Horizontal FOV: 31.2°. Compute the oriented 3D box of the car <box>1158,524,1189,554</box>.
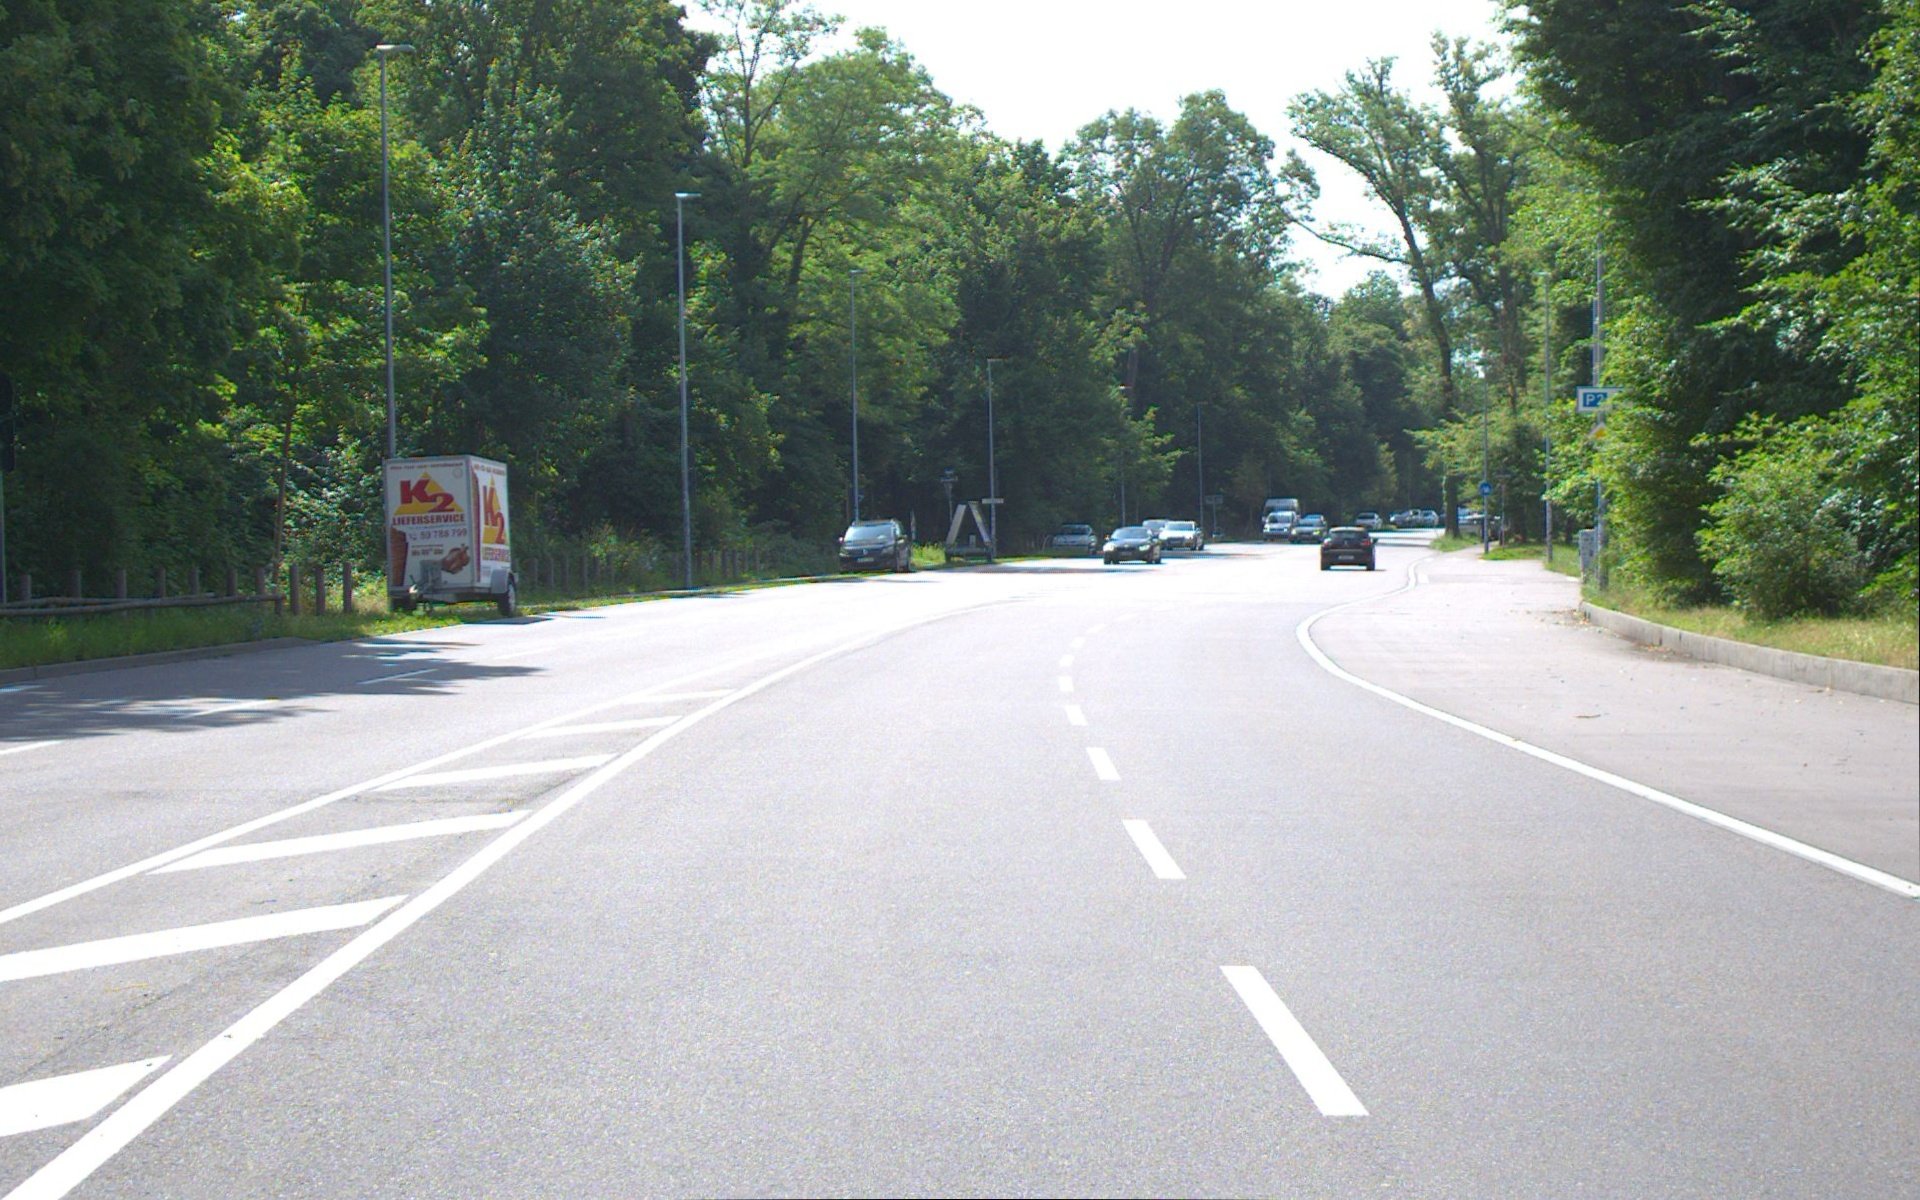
[{"bbox_3d":[10.339,-2.949,166.460,1.503,1.441,3.529,0,1,4],"label":"car"}]

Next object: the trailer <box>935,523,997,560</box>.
[{"bbox_3d":[0.221,-2.138,125.330,1.717,1.350,3.731,0,1,9],"label":"trailer"}]

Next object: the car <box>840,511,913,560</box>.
[{"bbox_3d":[-2.483,-1.919,102.845,1.504,1.441,3.528,0,1,10],"label":"car"}]

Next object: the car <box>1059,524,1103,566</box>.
[{"bbox_3d":[5.425,-2.447,153.415,1.922,1.848,4.000,0,1,3],"label":"car"}]

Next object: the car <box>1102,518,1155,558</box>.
[{"bbox_3d":[6.235,-2.281,126.665,1.504,1.441,3.528,0,1,10],"label":"car"}]

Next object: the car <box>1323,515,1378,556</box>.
[{"bbox_3d":[13.089,-2.165,115.123,1.598,1.373,3.974,0,1,10],"label":"car"}]

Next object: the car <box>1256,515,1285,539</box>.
[{"bbox_3d":[18.612,-4.355,206.229,1.504,1.441,3.528,0,1,9],"label":"car"}]

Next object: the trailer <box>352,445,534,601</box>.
[{"bbox_3d":[-8.135,-1.217,54.427,1.994,2.380,4.000,0,1,5],"label":"trailer"}]
